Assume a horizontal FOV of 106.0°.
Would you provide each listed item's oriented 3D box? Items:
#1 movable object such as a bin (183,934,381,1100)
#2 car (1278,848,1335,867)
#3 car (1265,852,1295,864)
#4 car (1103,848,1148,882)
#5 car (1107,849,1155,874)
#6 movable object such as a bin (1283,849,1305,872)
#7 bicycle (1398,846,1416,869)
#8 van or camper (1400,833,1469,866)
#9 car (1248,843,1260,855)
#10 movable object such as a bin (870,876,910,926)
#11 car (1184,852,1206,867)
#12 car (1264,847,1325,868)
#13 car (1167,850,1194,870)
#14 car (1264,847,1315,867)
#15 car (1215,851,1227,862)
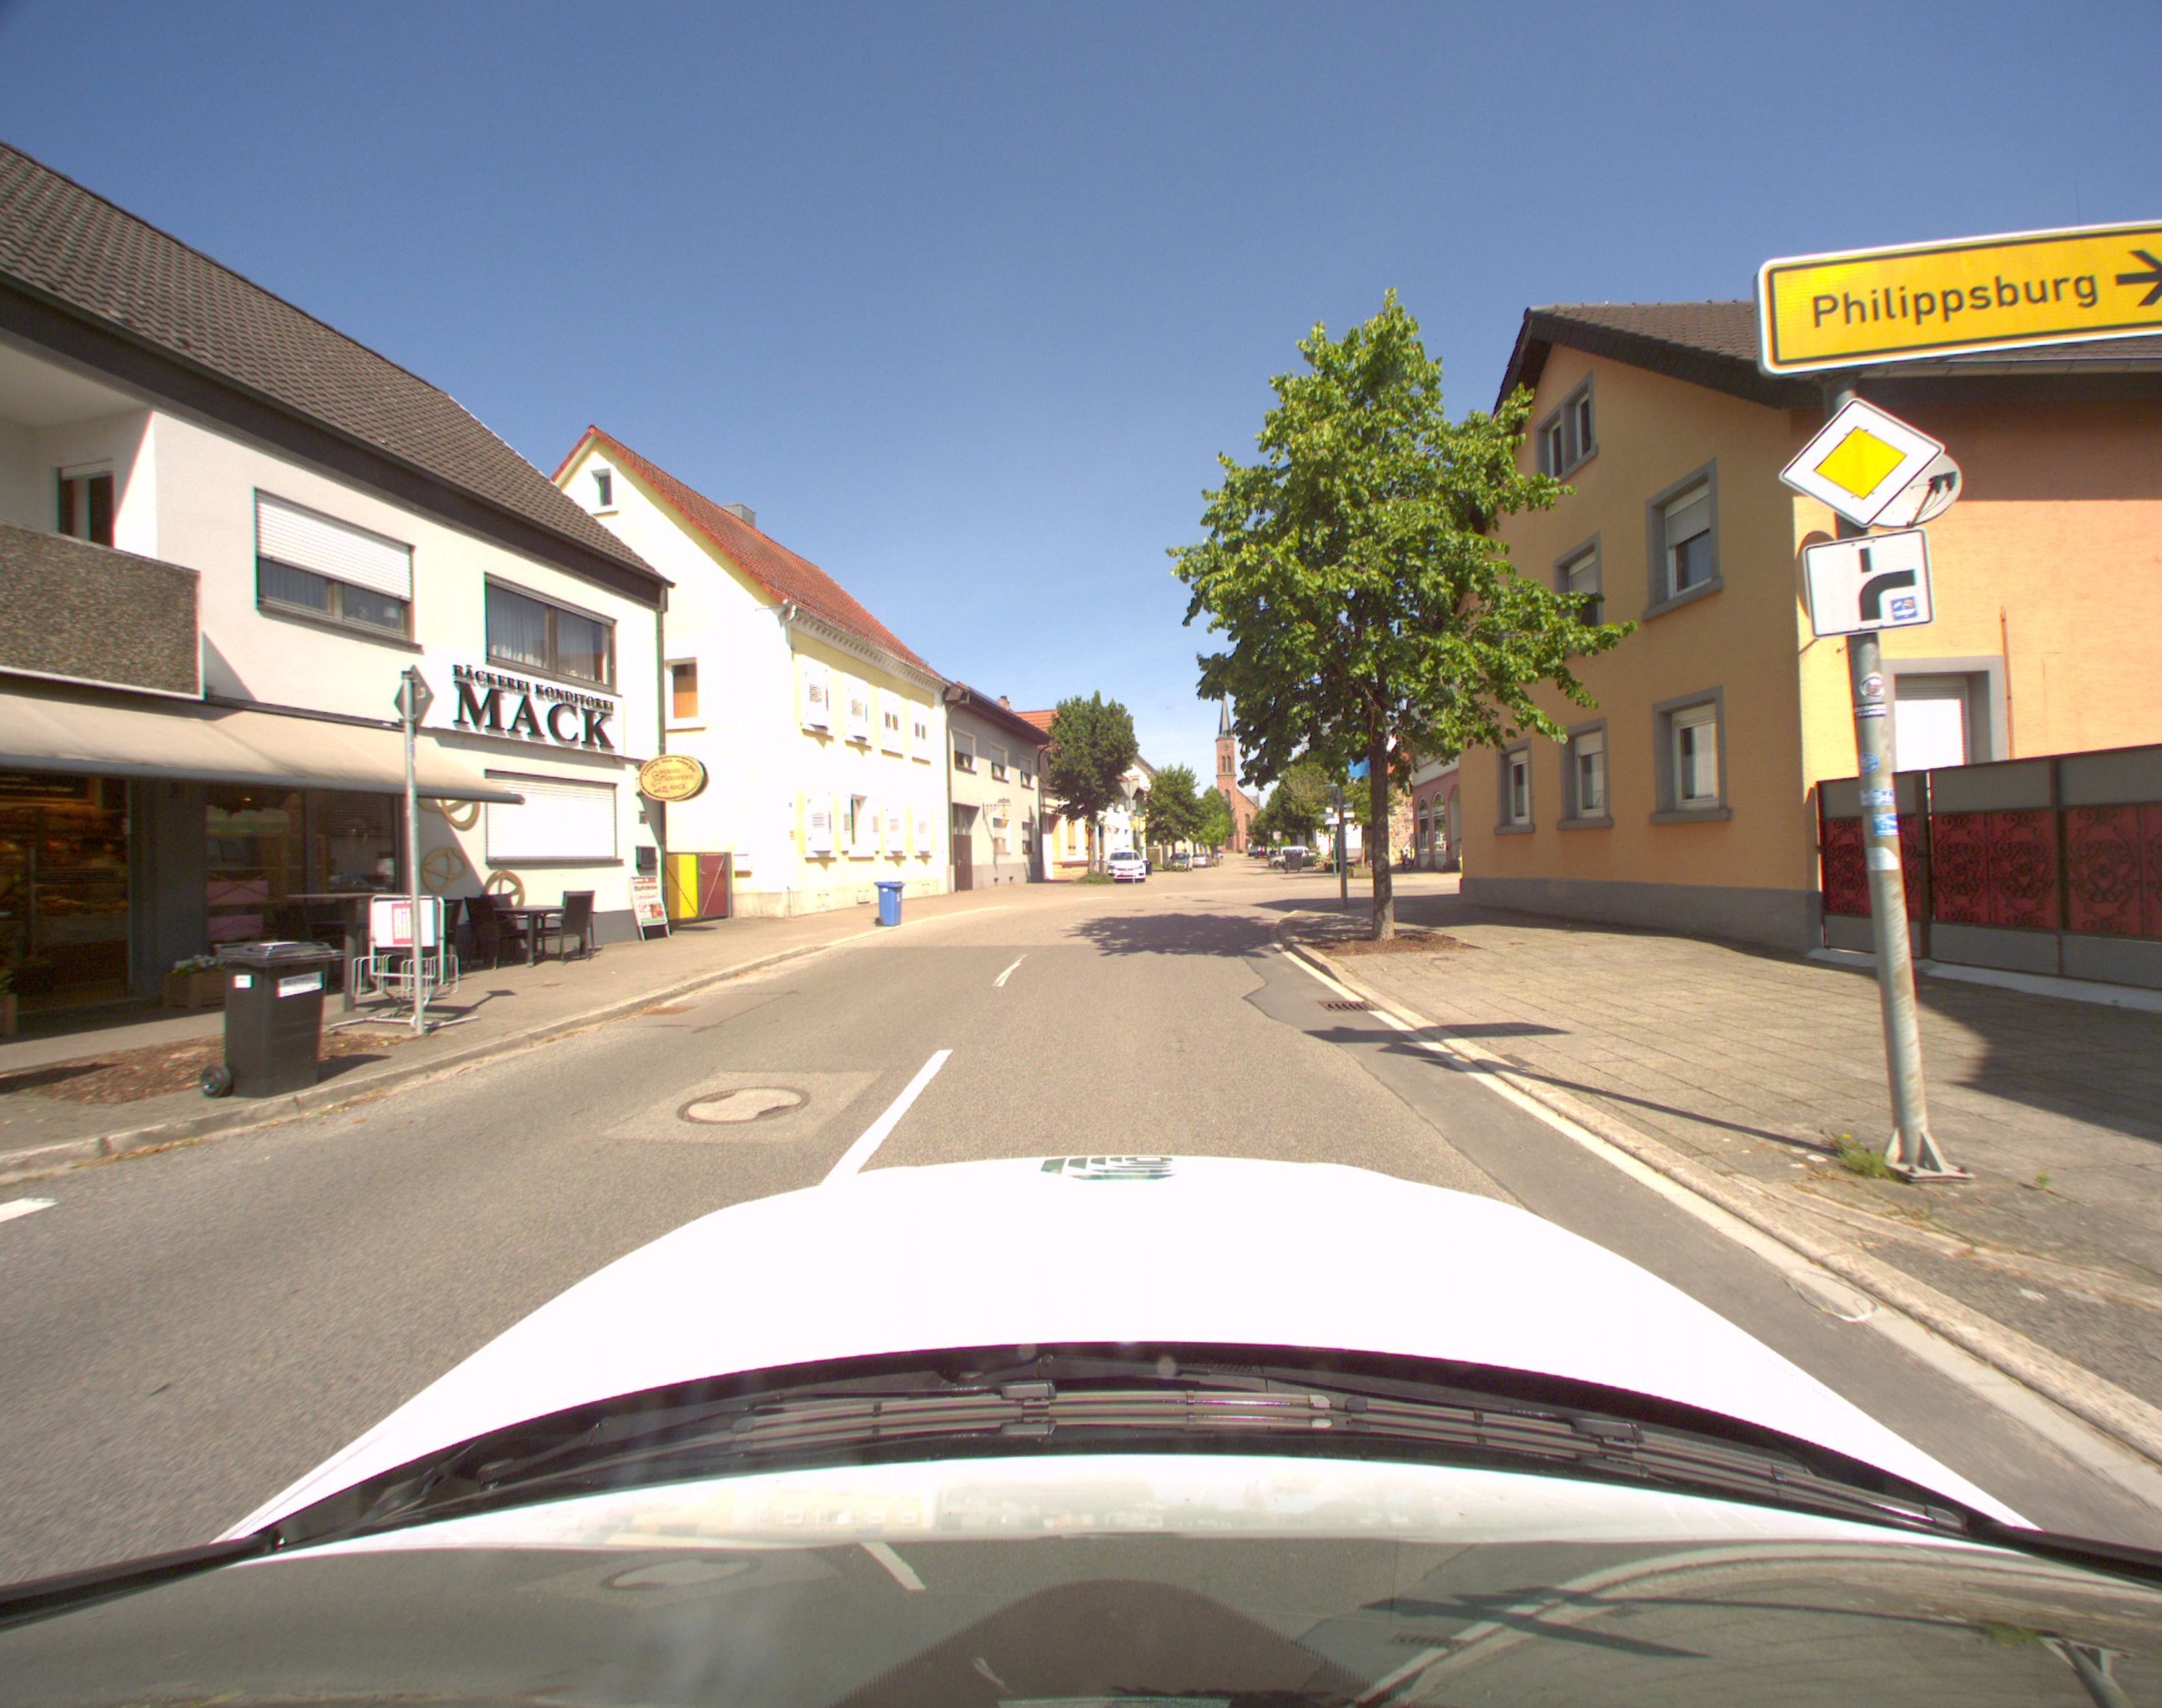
[{"bbox_3d":[-5.086,1.012,5.220,0.640,0.924,0.614,-1,0,1],"label":"movable object such as a bin"},{"bbox_3d":[16.620,0.251,60.093,3.898,1.344,2.006,-1,0,11],"label":"car"},{"bbox_3d":[28.160,0.586,115.376,3.963,1.618,2.006,-2,0,9],"label":"car"},{"bbox_3d":[1.993,0.470,37.645,1.843,1.440,4.513,-1,0,0],"label":"car"},{"bbox_3d":[3.232,0.414,51.628,1.969,1.440,5.233,-1,0,16],"label":"car"},{"bbox_3d":[12.507,0.377,47.724,1.179,1.338,0.792,-2,0,15],"label":"movable object such as a bin"},{"bbox_3d":[16.449,0.181,41.082,0.589,1.136,1.755,-2,0,15],"label":"bicycle"},{"bbox_3d":[23.180,-0.273,53.553,3.953,2.013,2.010,-2,0,20],"label":"van or camper"},{"bbox_3d":[34.922,-0.971,164.495,2.230,2.279,4.517,0,-1,12],"label":"car"},{"bbox_3d":[-3.997,0.976,17.053,0.640,0.980,0.614,-1,0,4],"label":"movable object such as a bin"},{"bbox_3d":[11.264,0.538,80.545,1.984,1.464,4.006,-1,0,5],"label":"car"},{"bbox_3d":[17.398,0.284,66.571,4.772,1.623,2.006,-1,0,11],"label":"car"},{"bbox_3d":[8.582,0.465,69.740,1.981,1.574,4.012,-2,0,10],"label":"car"},{"bbox_3d":[17.678,0.245,69.288,4.123,1.568,2.006,-1,0,11],"label":"car"},{"bbox_3d":[25.729,0.445,150.008,1.982,1.816,4.009,-2,0,8],"label":"car"}]
